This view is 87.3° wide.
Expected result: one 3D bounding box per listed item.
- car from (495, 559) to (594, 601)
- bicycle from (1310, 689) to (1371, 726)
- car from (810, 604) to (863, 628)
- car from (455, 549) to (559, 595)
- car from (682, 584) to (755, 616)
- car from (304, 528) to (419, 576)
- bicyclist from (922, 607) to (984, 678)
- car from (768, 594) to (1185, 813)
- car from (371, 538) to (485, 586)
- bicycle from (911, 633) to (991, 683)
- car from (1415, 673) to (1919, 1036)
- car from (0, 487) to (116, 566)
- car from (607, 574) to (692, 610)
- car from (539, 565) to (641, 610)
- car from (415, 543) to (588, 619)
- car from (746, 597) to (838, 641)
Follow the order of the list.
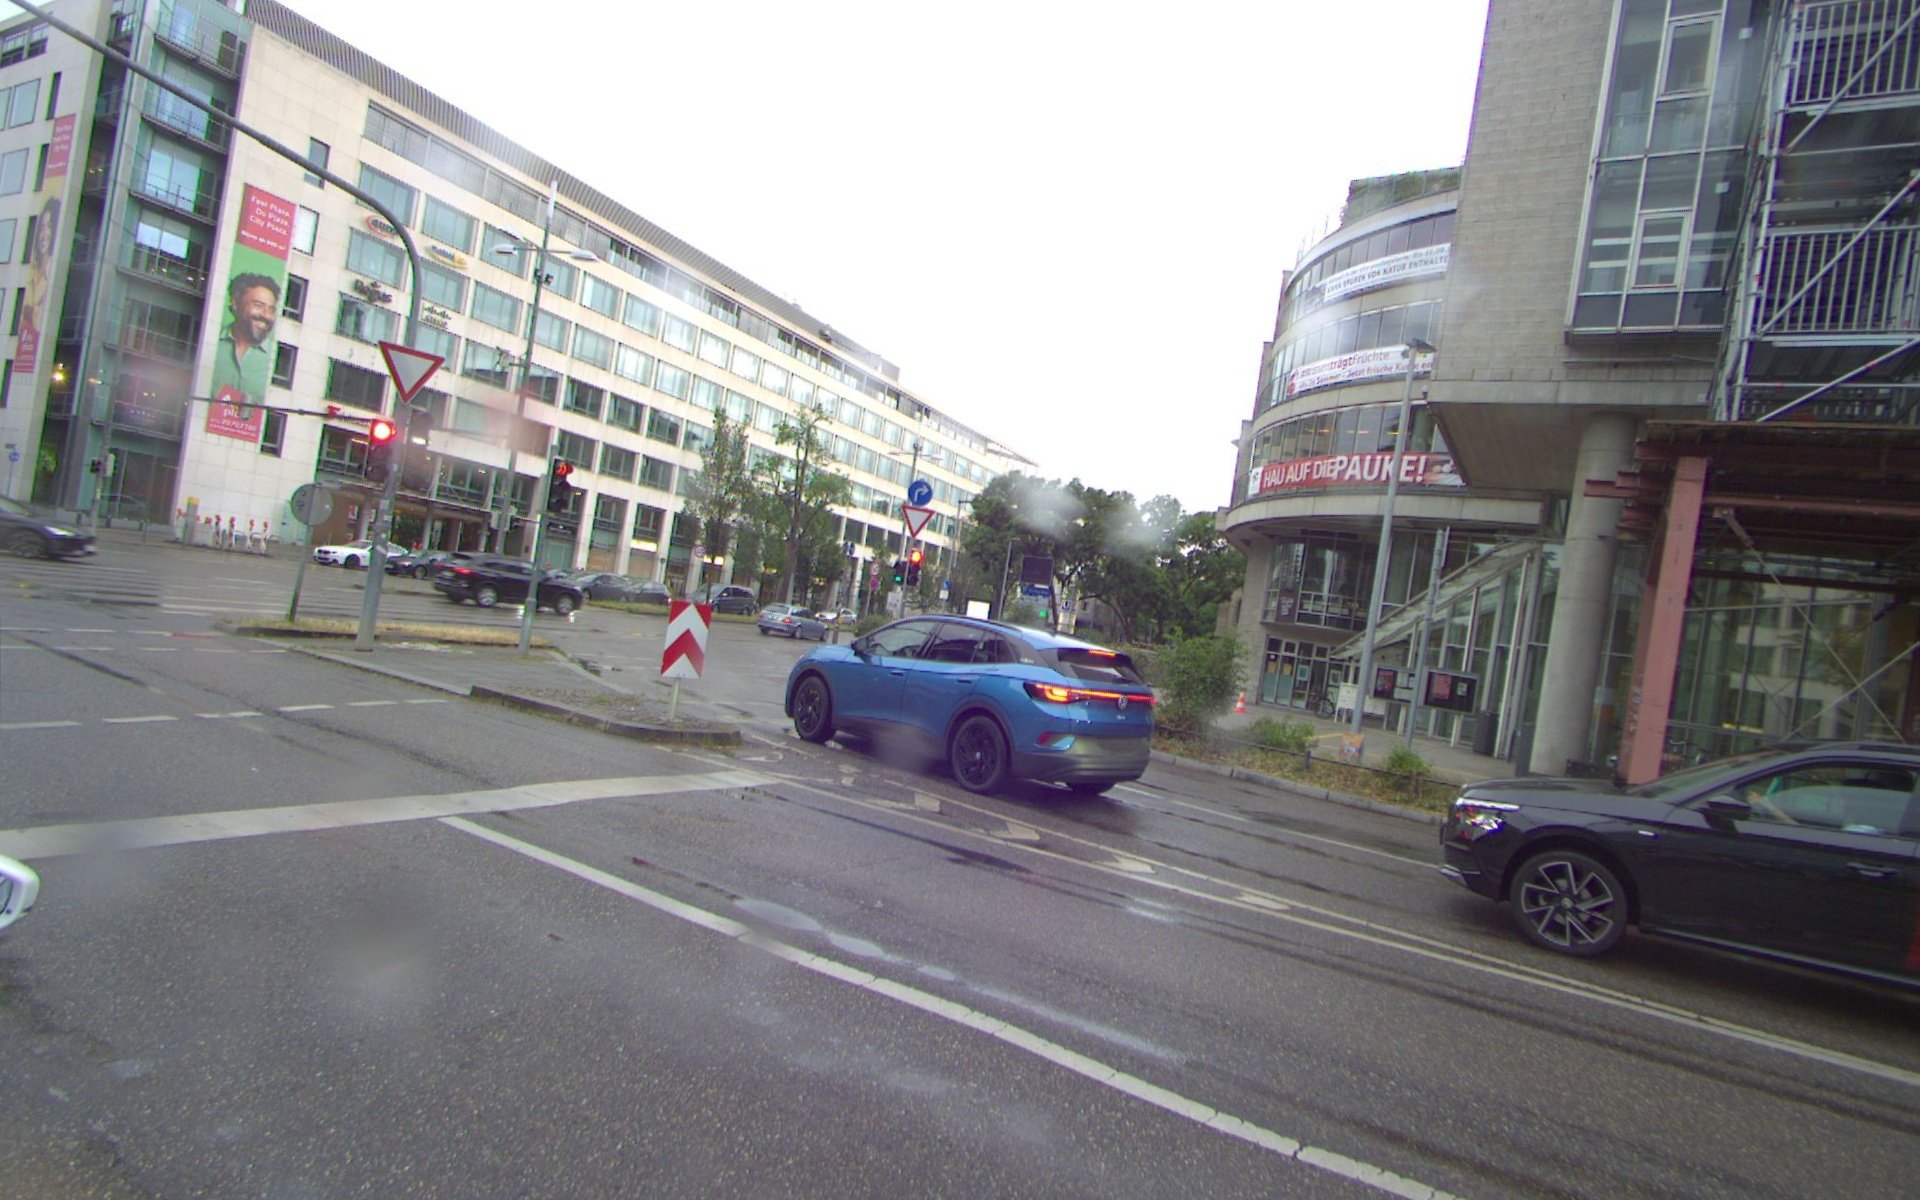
[{"bbox_3d":[-19.199,-0.888,46.734,1.690,1.364,4.469,7,-2,17],"label":"car"},{"bbox_3d":[13.445,3.800,35.619,1.816,0.995,0.757,8,-1,12],"label":"bicycle"},{"bbox_3d":[-9.822,1.296,80.373,1.892,1.364,4.650,7,-2,25],"label":"car"},{"bbox_3d":[-21.847,-1.315,48.715,1.962,1.616,4.469,7,-1,17],"label":"car"},{"bbox_3d":[-14.366,0.050,60.077,1.891,1.364,4.654,7,-2,19],"label":"car"},{"bbox_3d":[-28.611,-2.259,48.297,1.962,1.616,4.469,7,-1,17],"label":"car"},{"bbox_3d":[-0.188,1.161,27.032,0.836,1.724,1.293,7,-1,41],"label":"bicyclist"},{"bbox_3d":[-0.035,0.953,10.605,1.699,1.547,4.373,9,-2,-43],"label":"car"},{"bbox_3d":[-25.176,-1.776,47.788,1.963,1.616,4.468,7,-1,20],"label":"car"},{"bbox_3d":[-0.214,1.586,27.063,0.836,1.116,2.144,7,-1,40],"label":"bicycle"},{"bbox_3d":[5.229,1.537,6.175,4.080,1.558,1.780,7,-1,34],"label":"car"},{"bbox_3d":[-21.889,-1.846,22.159,4.563,1.465,1.852,9,-1,-24],"label":"car"},{"bbox_3d":[-16.643,-0.397,54.251,1.891,1.364,4.654,7,-2,19],"label":"car"},{"bbox_3d":[-16.454,-0.513,44.957,1.690,1.481,4.468,7,-2,19],"label":"car"},{"bbox_3d":[-14.112,-0.538,31.166,1.940,1.675,4.351,9,0,36],"label":"car"},{"bbox_3d":[-7.291,0.880,44.120,1.963,1.504,4.466,8,0,18],"label":"car"}]
